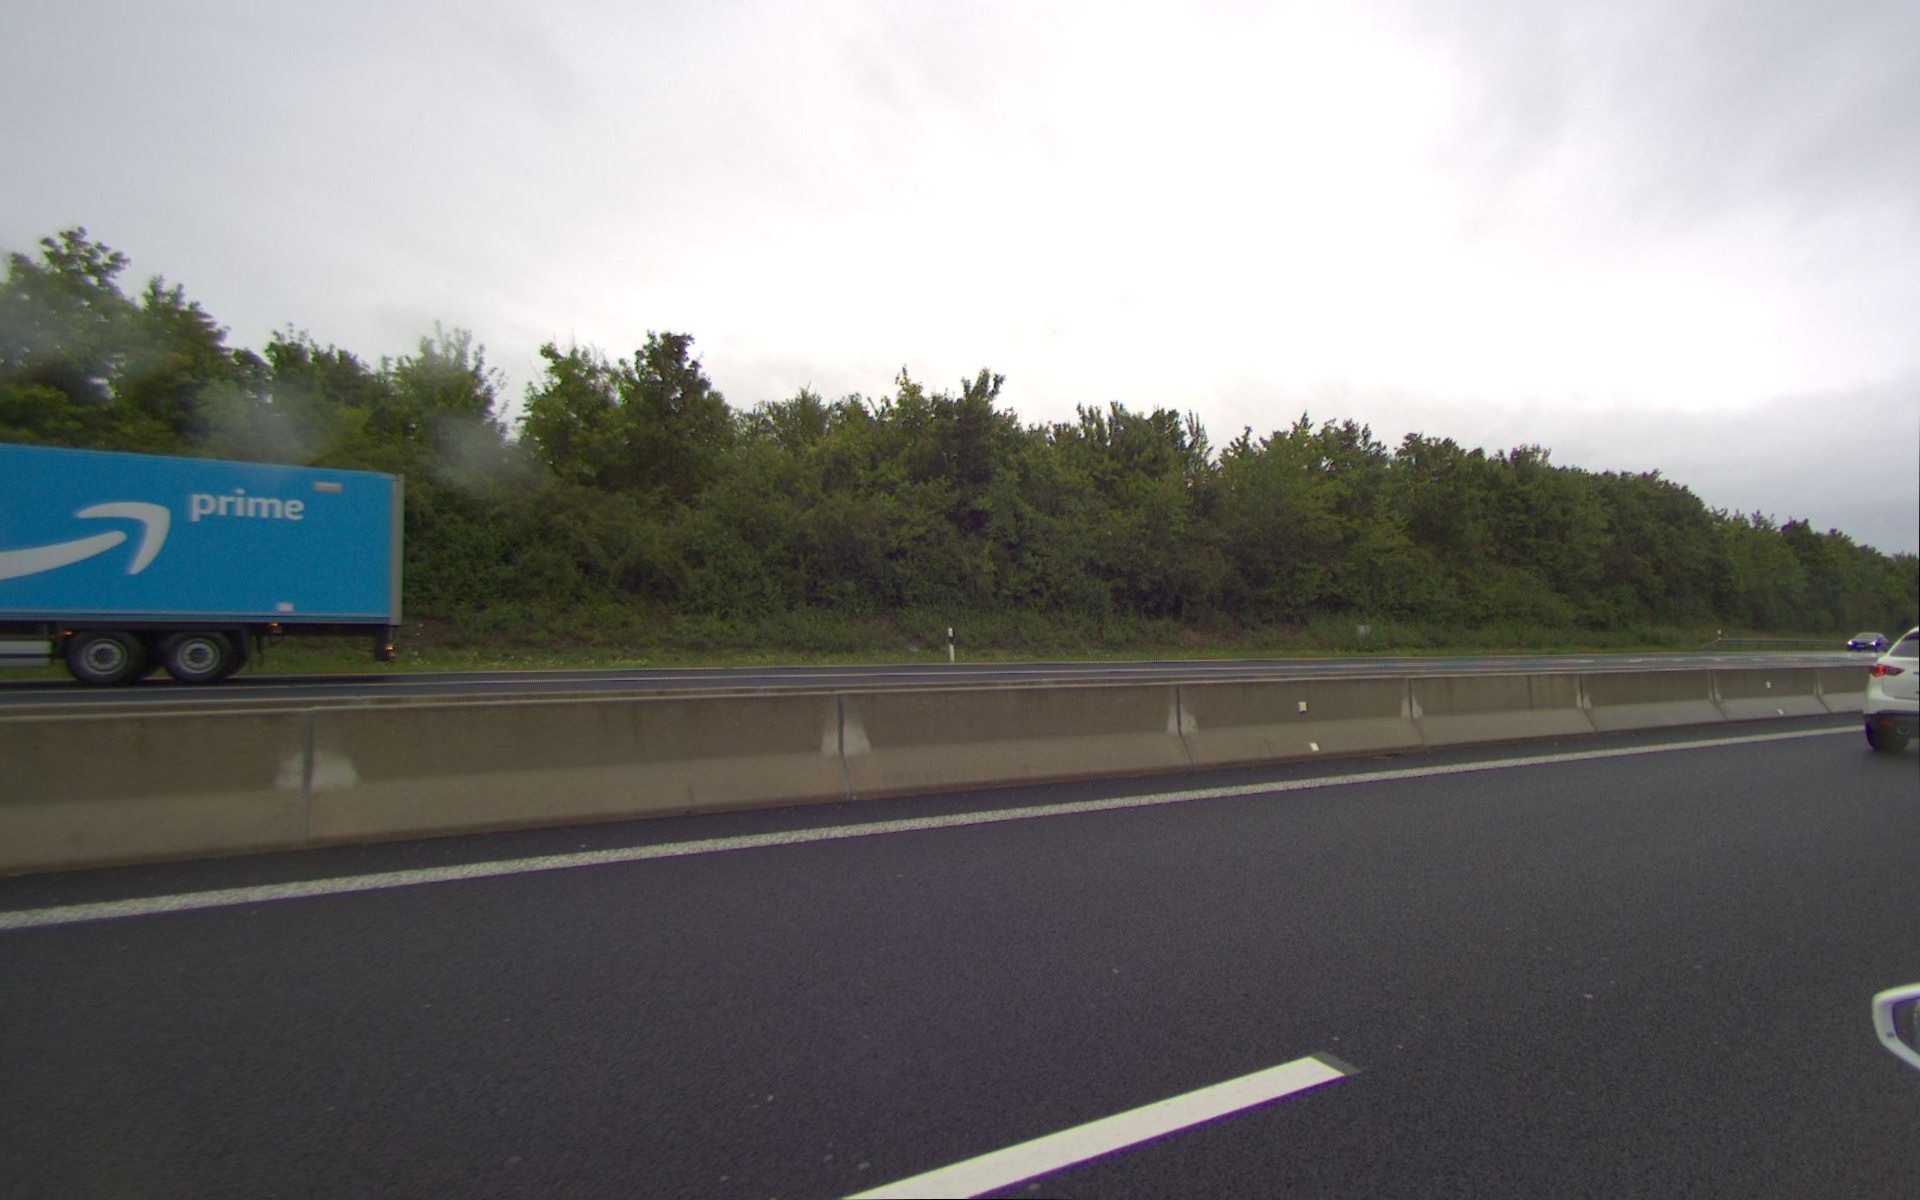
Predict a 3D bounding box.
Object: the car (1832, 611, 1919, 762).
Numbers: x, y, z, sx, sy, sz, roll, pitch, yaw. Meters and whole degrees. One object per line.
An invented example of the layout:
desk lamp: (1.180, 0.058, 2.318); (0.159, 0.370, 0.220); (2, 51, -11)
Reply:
car: (12.553, 1.006, 11.966); (4.448, 1.661, 1.967); (2, -1, -30)

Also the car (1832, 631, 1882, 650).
car: (66.886, 2.996, 74.874); (3.876, 1.311, 1.681); (1, -1, -30)

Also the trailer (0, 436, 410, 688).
trailer: (-17.127, -0.628, 17.265); (13.369, 4.138, 2.776); (1, -1, -31)
